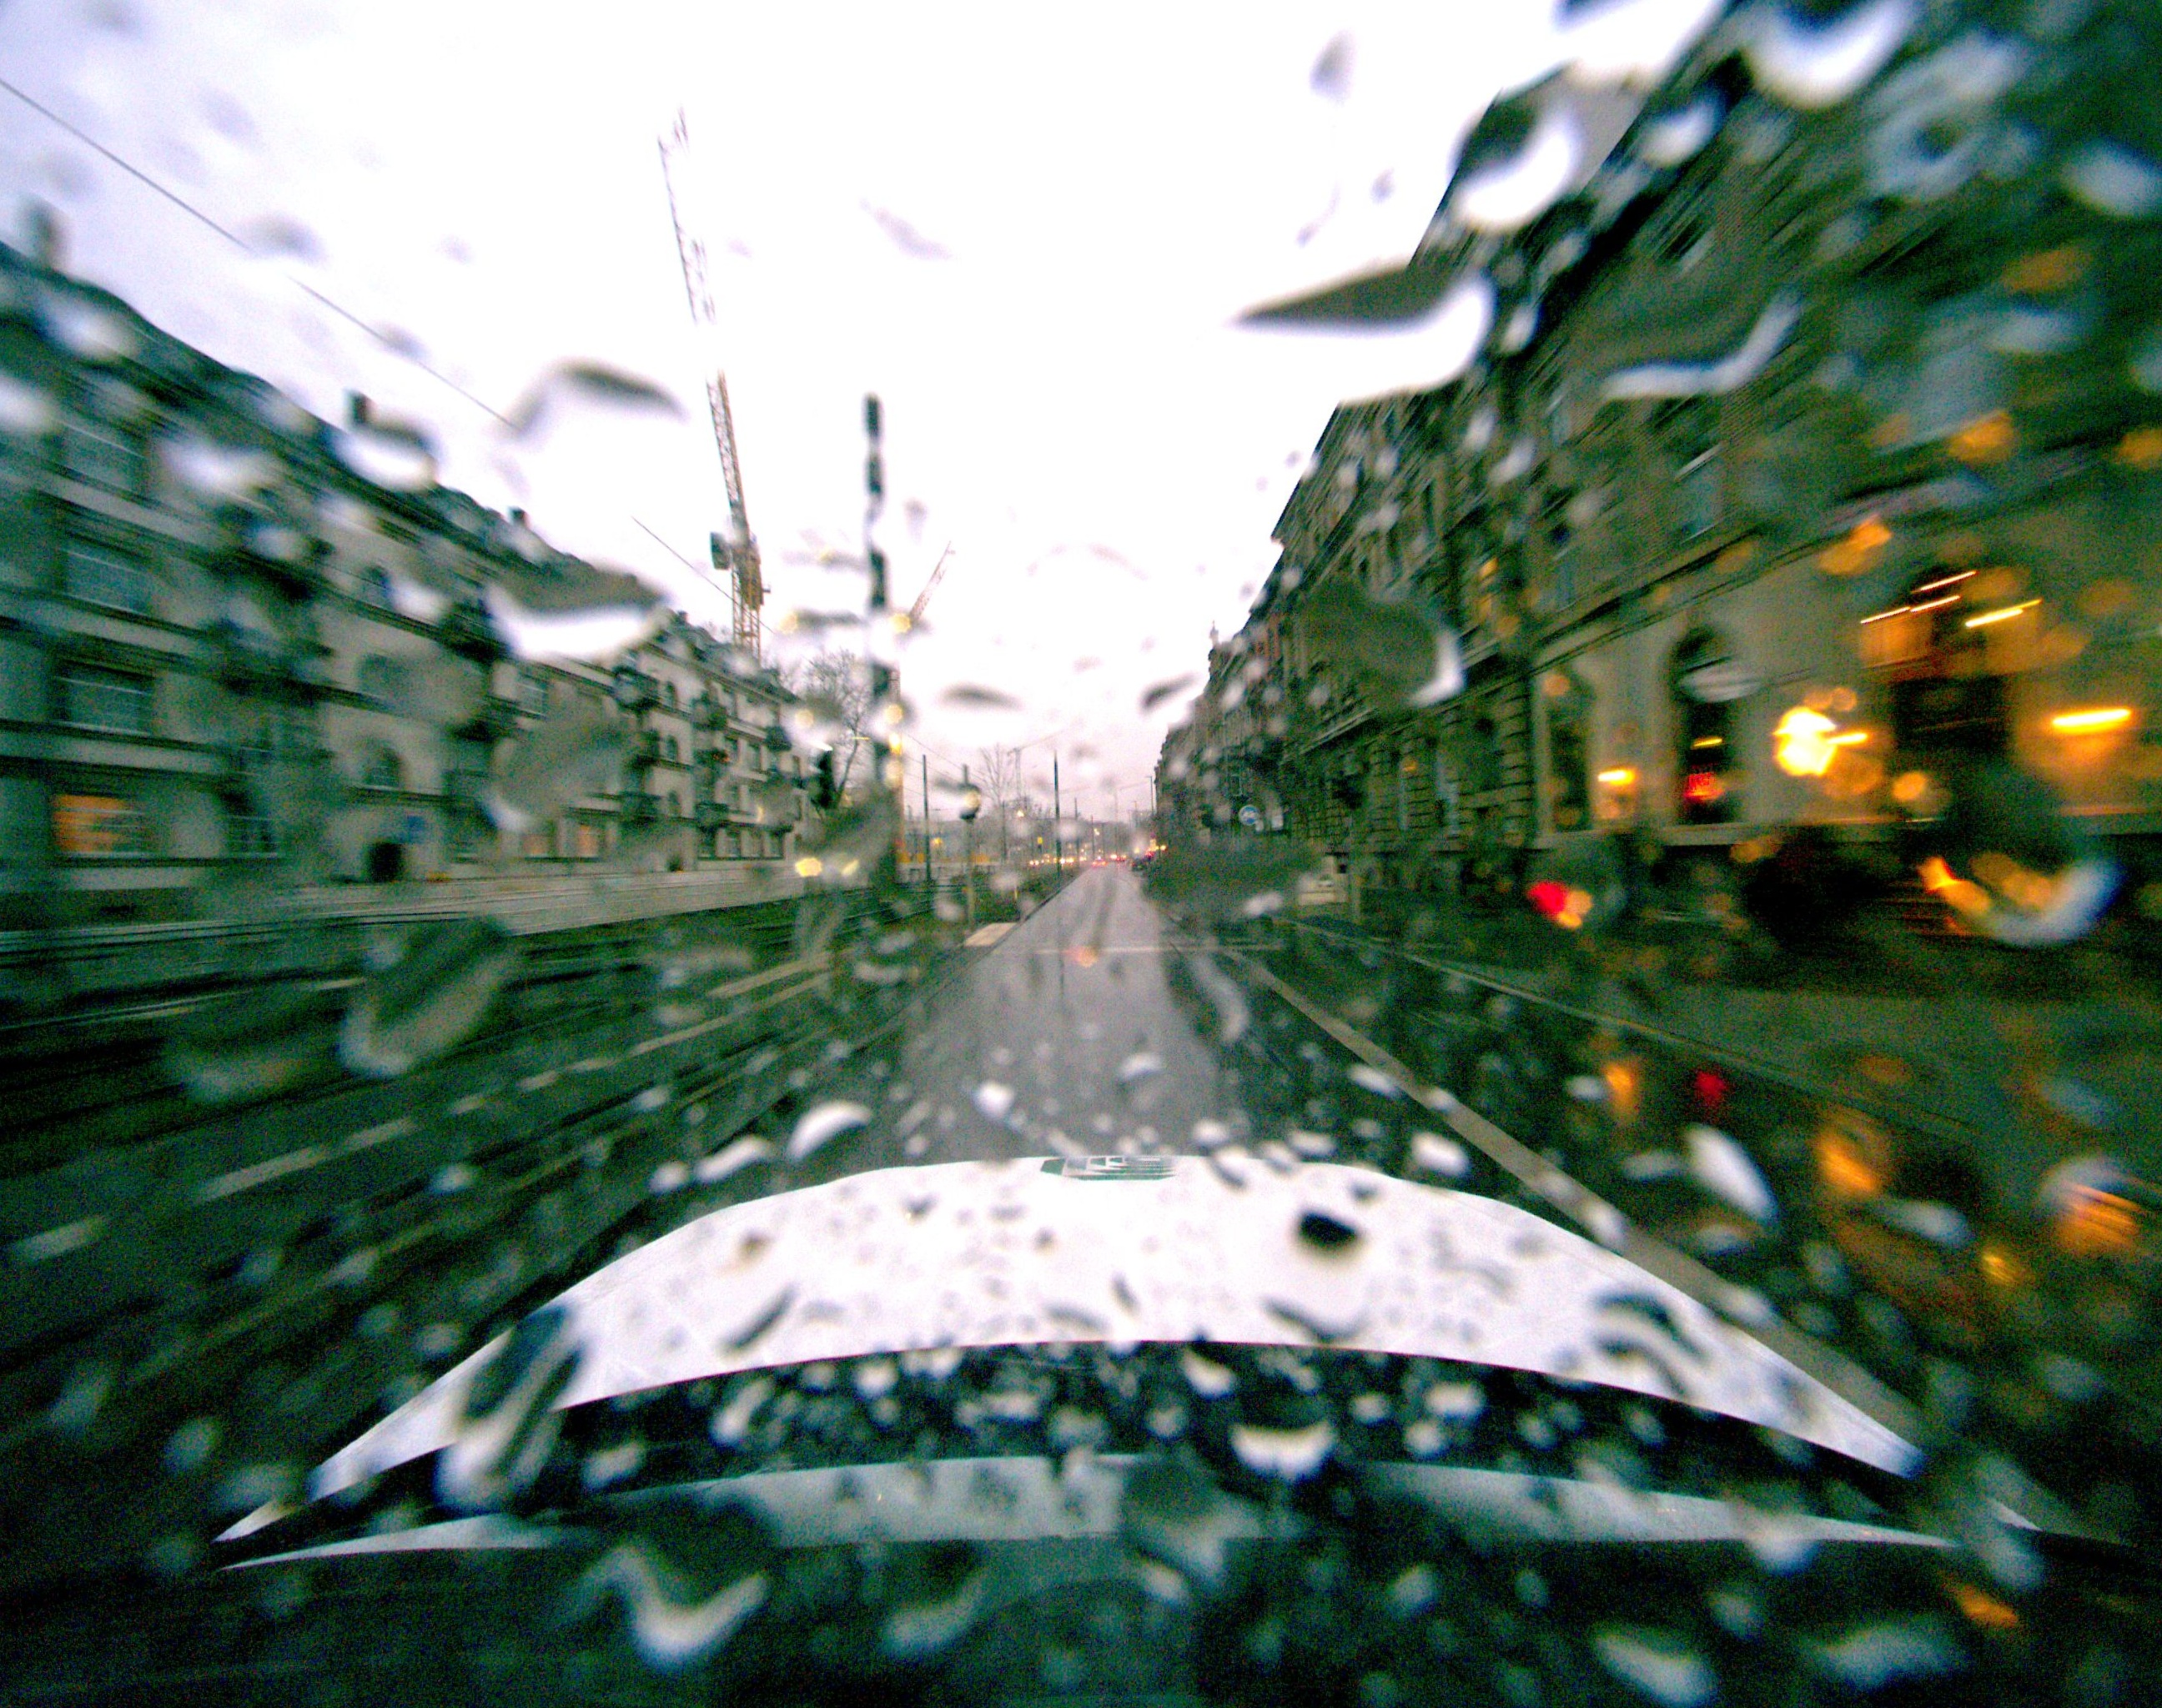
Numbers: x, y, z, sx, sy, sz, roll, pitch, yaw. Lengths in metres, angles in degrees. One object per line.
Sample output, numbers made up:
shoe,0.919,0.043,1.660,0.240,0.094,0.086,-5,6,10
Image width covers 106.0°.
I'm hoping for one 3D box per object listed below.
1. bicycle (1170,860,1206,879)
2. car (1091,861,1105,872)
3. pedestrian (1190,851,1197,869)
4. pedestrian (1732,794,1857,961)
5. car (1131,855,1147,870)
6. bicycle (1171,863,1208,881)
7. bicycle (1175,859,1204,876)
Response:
bicycle,6.625,0.968,50.378,2.143,1.057,0.525,-3,-1,-5
car,2.341,1.750,113.757,1.777,1.467,3.151,-2,0,3
pedestrian,11.127,0.587,80.539,0.600,1.785,0.528,-3,-1,1
pedestrian,9.103,0.277,10.409,0.858,2.014,0.910,-2,-1,-29
car,6.836,0.989,96.888,1.791,1.604,3.773,-3,0,4
bicycle,6.854,1.135,51.695,2.242,1.057,0.525,-3,-1,-1
bicycle,7.172,0.915,53.957,1.846,1.058,0.471,-3,-1,-2
